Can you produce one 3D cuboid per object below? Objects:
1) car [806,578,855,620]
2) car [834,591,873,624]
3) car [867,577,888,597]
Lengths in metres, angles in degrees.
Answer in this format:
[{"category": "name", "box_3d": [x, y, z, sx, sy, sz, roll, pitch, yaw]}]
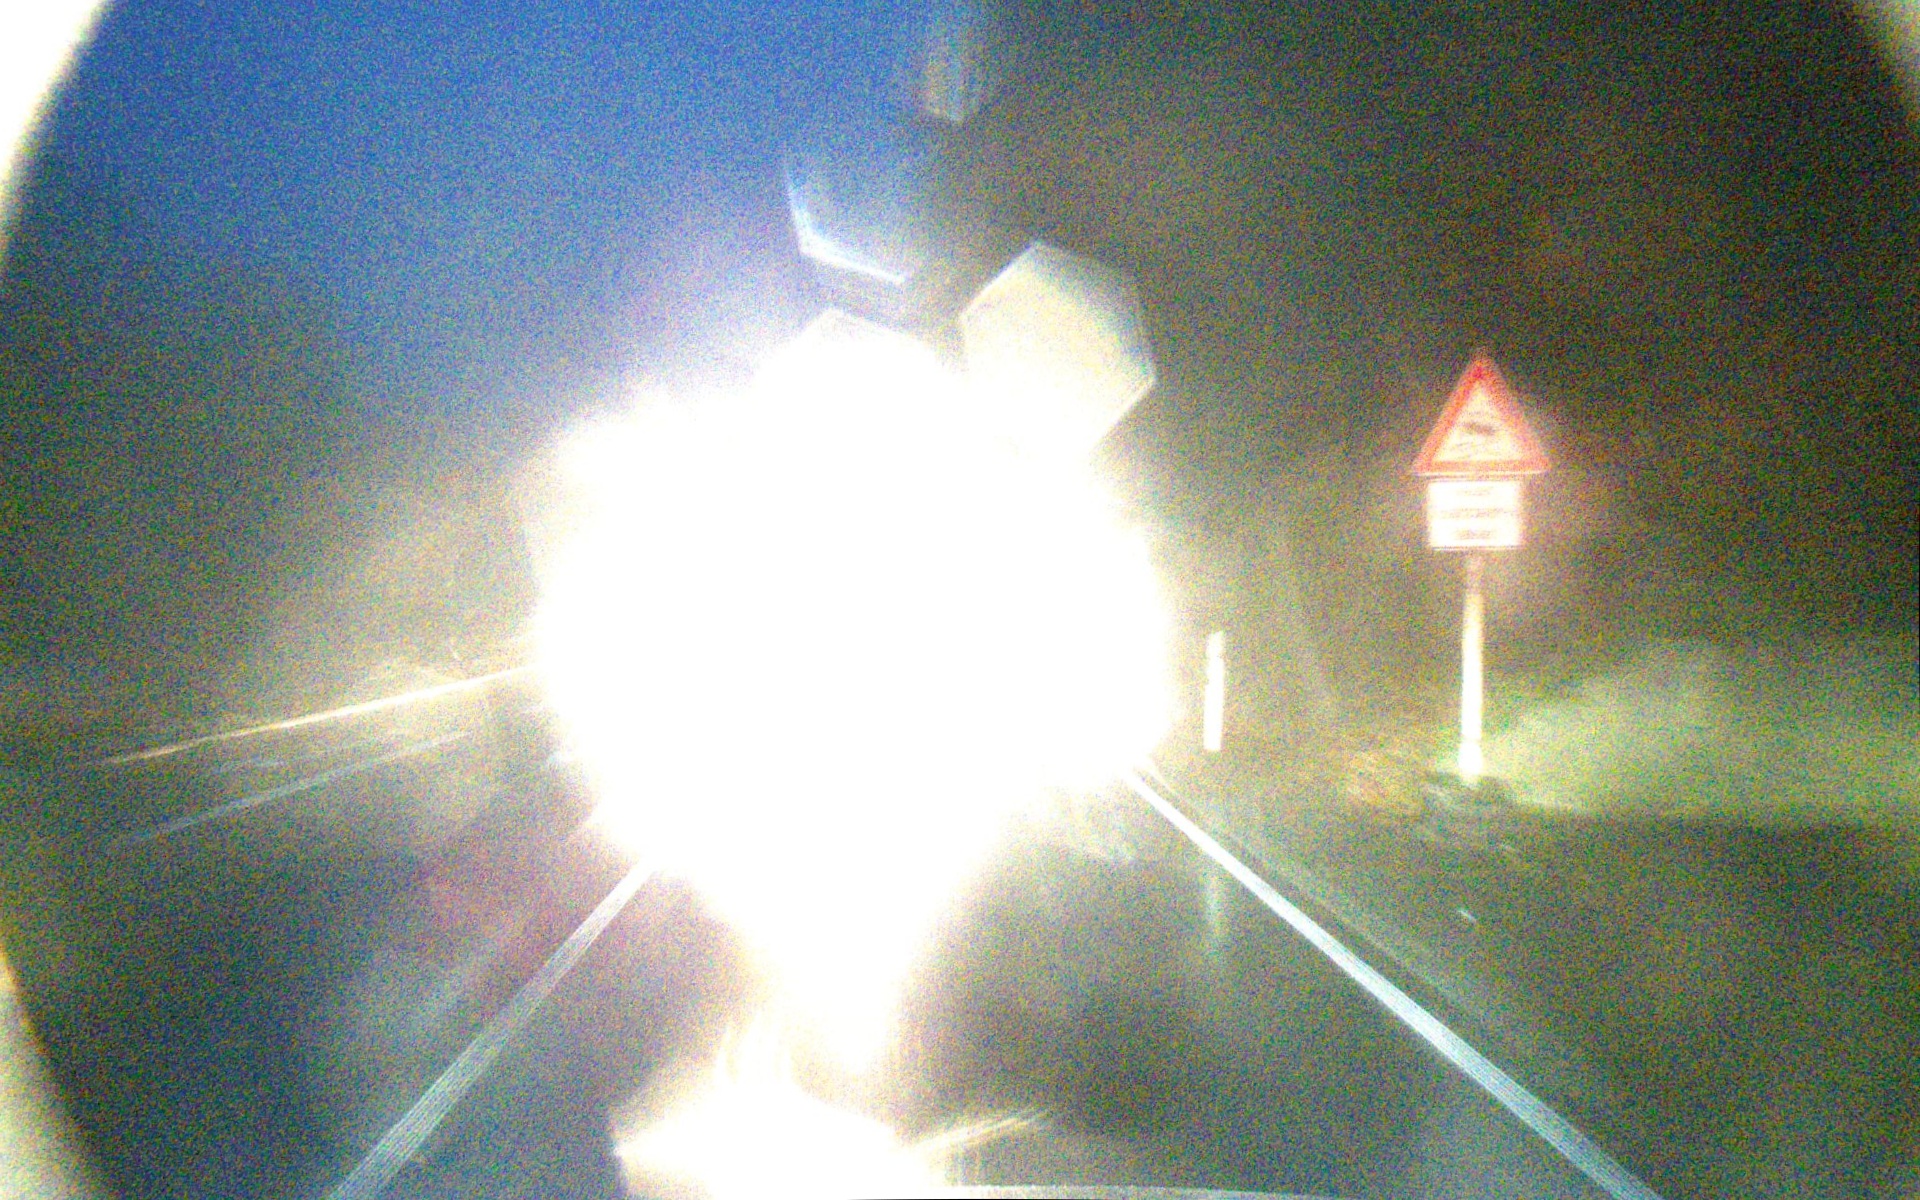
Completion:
[{"category": "car", "box_3d": [-5.548, -0.069, 71.235, 1.850, 1.700, 3.999, -1, 1, -1]}, {"category": "car", "box_3d": [-5.592, 0.379, 87.370, 1.850, 1.613, 3.999, -1, 1, -1]}, {"category": "car", "box_3d": [-6.634, -1.035, 132.646, 1.667, 1.492, 4.039, -1, 1, -3]}]
